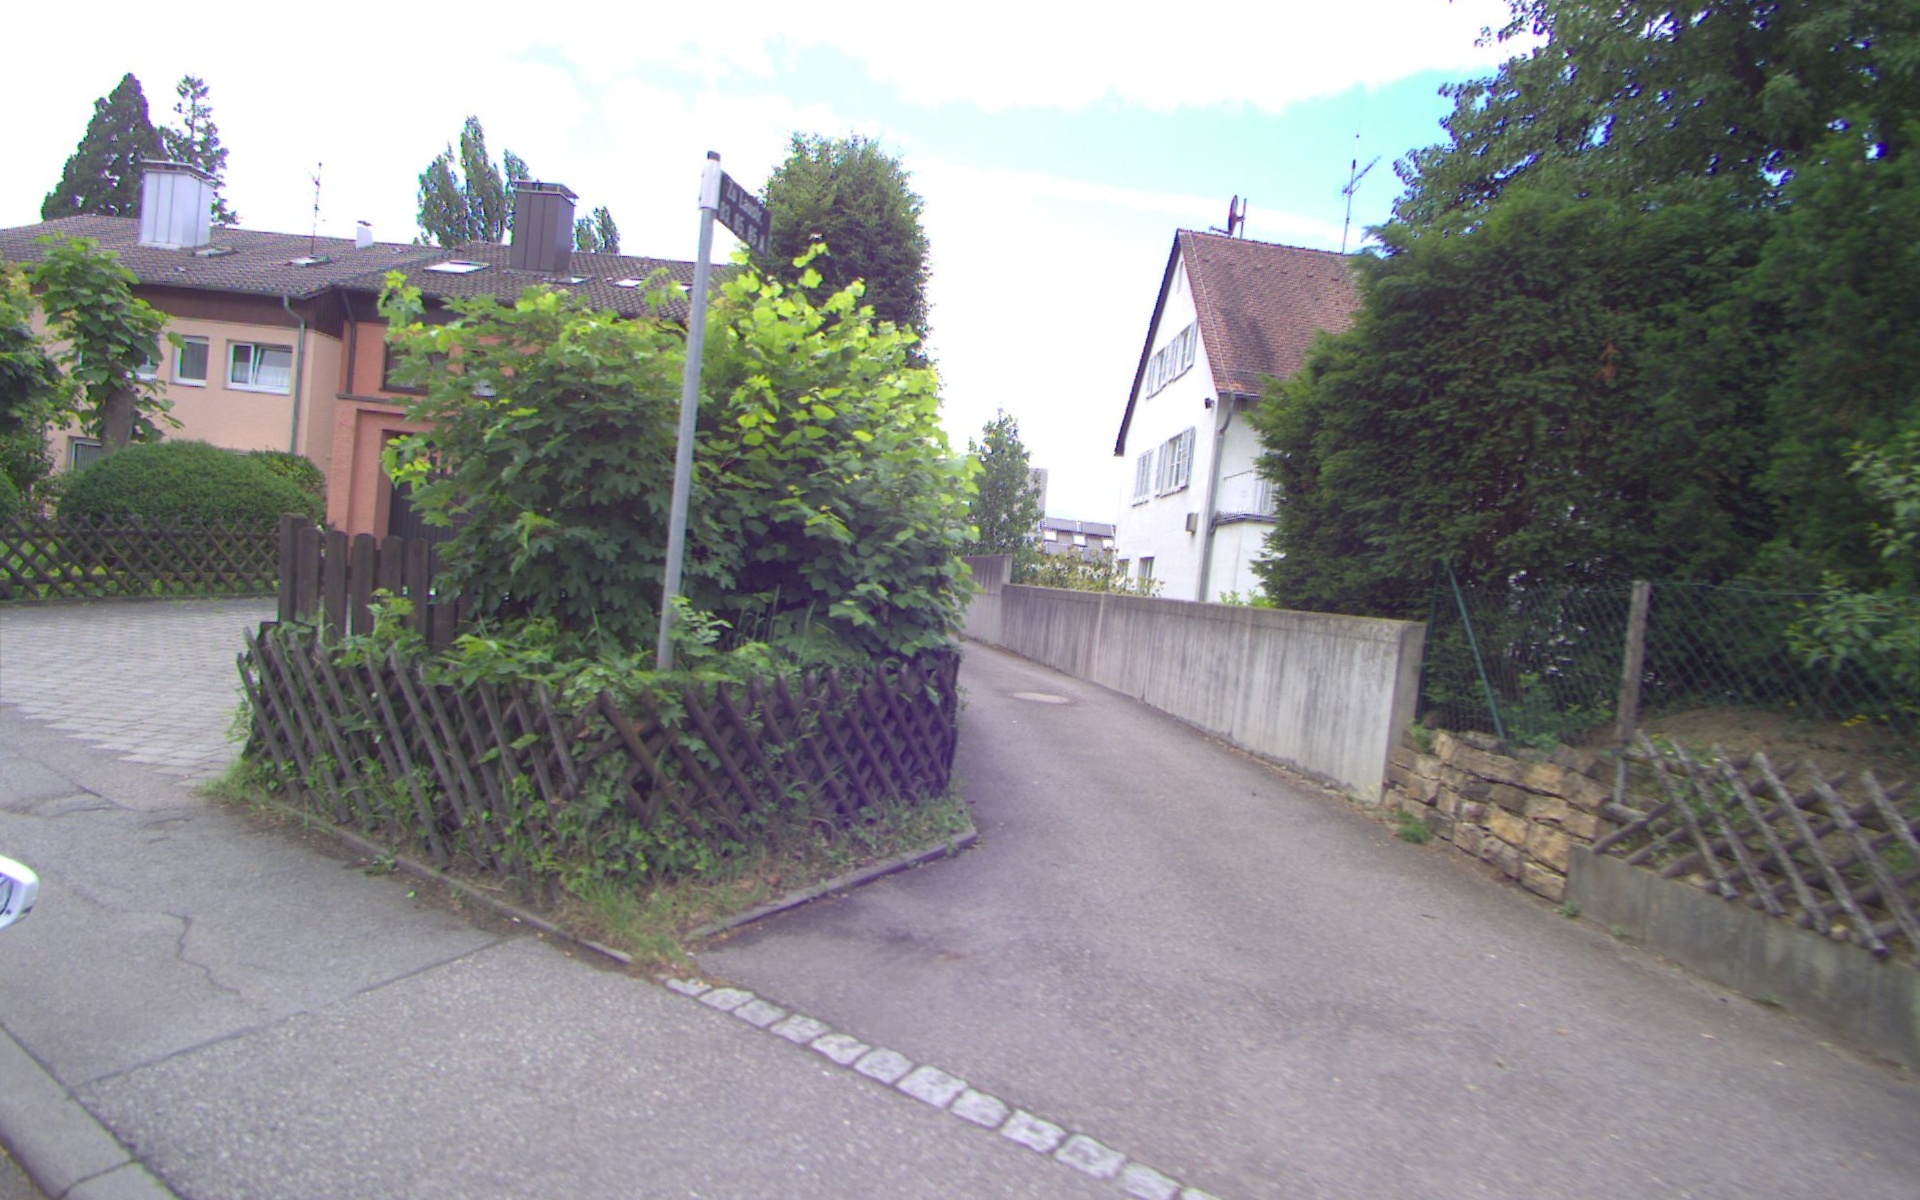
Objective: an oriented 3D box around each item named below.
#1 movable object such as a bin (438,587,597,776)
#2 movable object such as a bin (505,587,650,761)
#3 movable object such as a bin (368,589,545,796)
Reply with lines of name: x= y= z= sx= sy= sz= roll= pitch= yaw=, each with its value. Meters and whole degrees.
movable object such as a bin: x=-2.563 y=0.447 z=5.843 sx=0.673 sy=0.970 sz=0.447 roll=7 pitch=5 yaw=15
movable object such as a bin: x=-2.406 y=0.445 z=6.344 sx=0.673 sy=0.970 sz=0.447 roll=7 pitch=5 yaw=15
movable object such as a bin: x=-2.669 y=0.468 z=5.357 sx=0.673 sy=0.970 sz=0.447 roll=6 pitch=5 yaw=11
